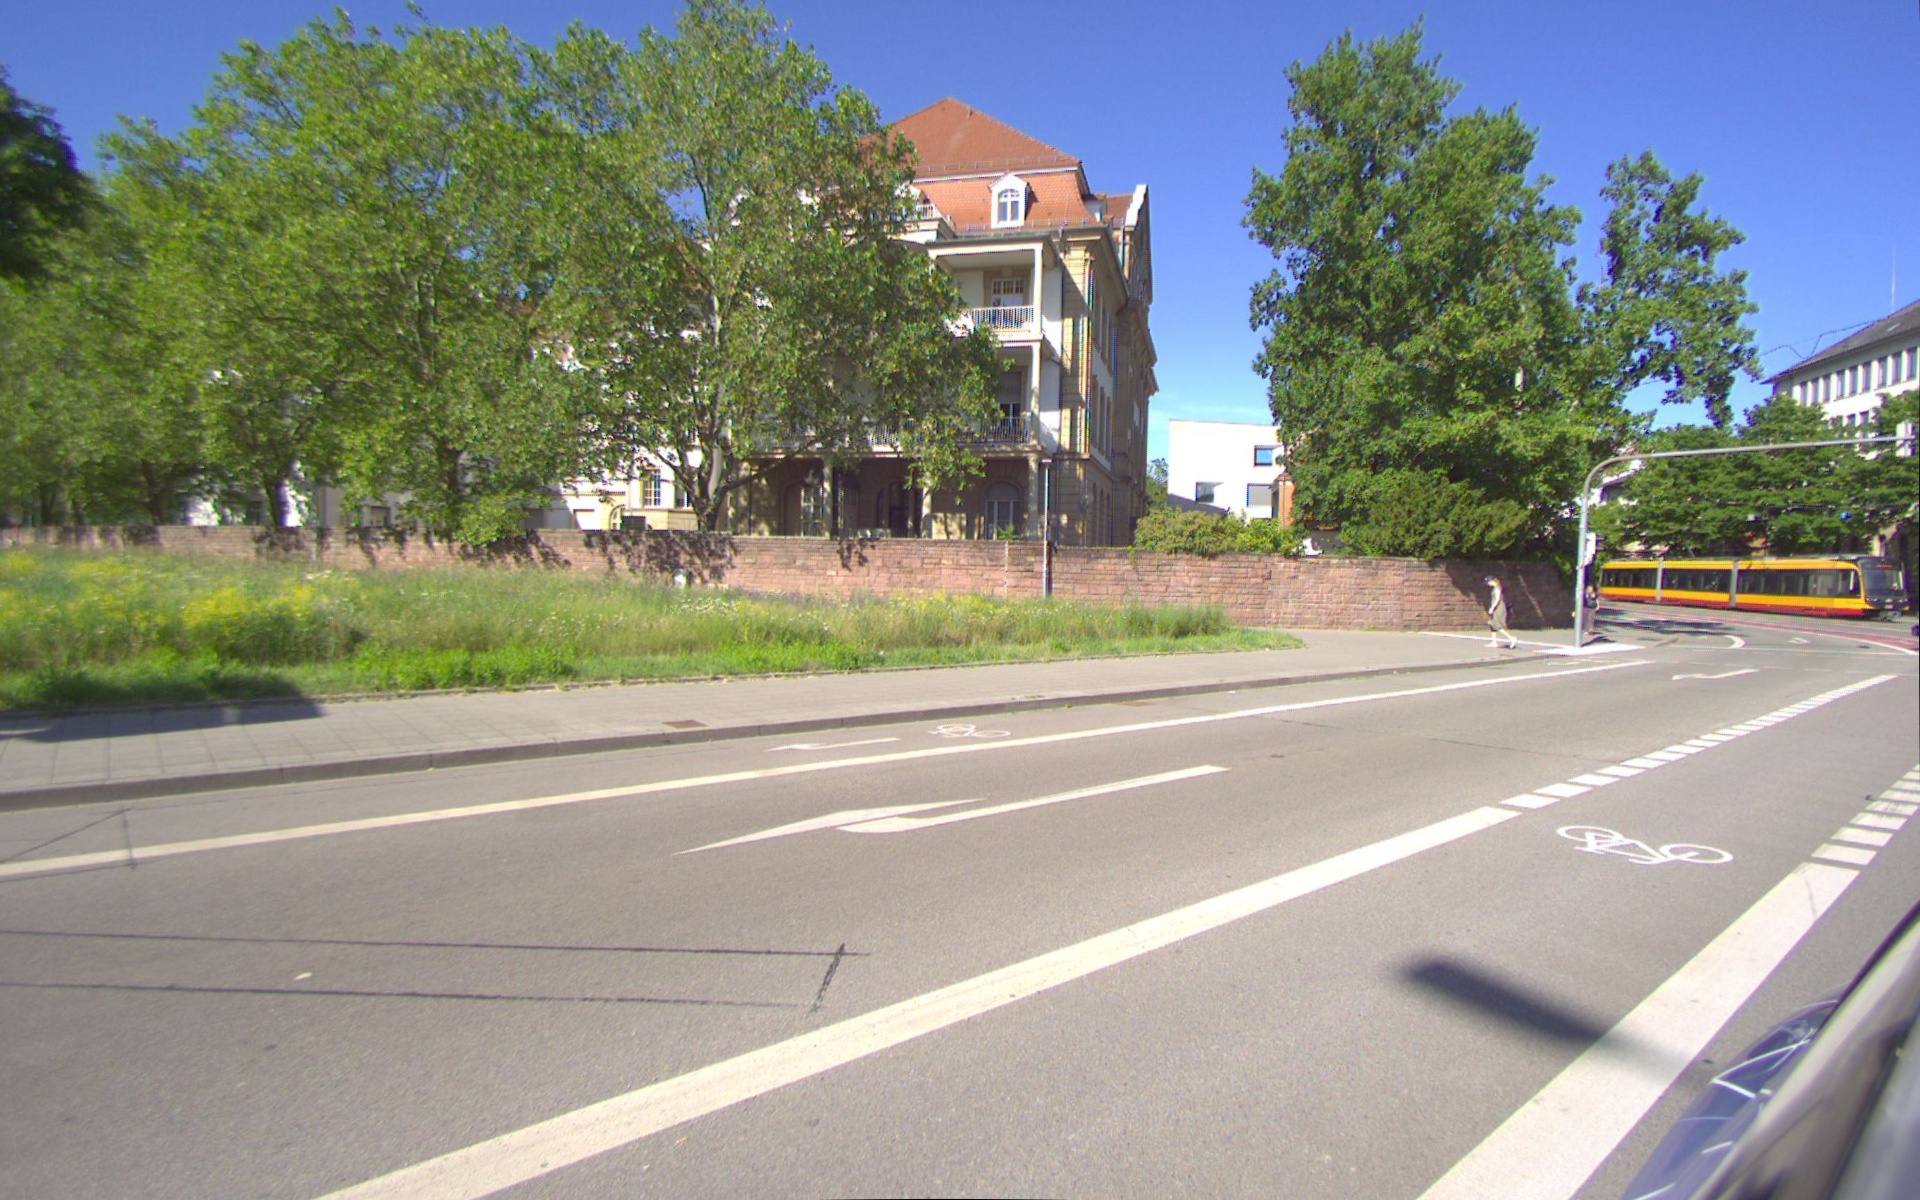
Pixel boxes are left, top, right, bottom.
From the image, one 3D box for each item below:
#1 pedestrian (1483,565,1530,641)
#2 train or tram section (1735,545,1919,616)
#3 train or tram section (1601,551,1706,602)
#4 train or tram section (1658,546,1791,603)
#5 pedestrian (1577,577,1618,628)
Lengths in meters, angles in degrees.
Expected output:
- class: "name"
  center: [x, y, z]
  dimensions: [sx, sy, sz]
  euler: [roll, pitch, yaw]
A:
- class: "pedestrian"
  center: [13.845, 0.072, 25.660]
  dimensions: [0.617, 1.881, 0.789]
  euler: [0, 2, -26]
- class: "train or tram section"
  center: [49.730, -1.172, 58.017]
  dimensions: [2.898, 3.563, 13.785]
  euler: [2, 2, 14]
- class: "train or tram section"
  center: [55.642, -1.925, 81.651]
  dimensions: [2.898, 3.728, 11.630]
  euler: [2, 2, 14]
- class: "train or tram section"
  center: [52.800, -1.824, 70.382]
  dimensions: [2.898, 3.563, 11.630]
  euler: [2, 2, 14]
- class: "pedestrian"
  center: [21.300, 0.074, 33.826]
  dimensions: [0.618, 1.687, 0.933]
  euler: [0, 2, -35]
